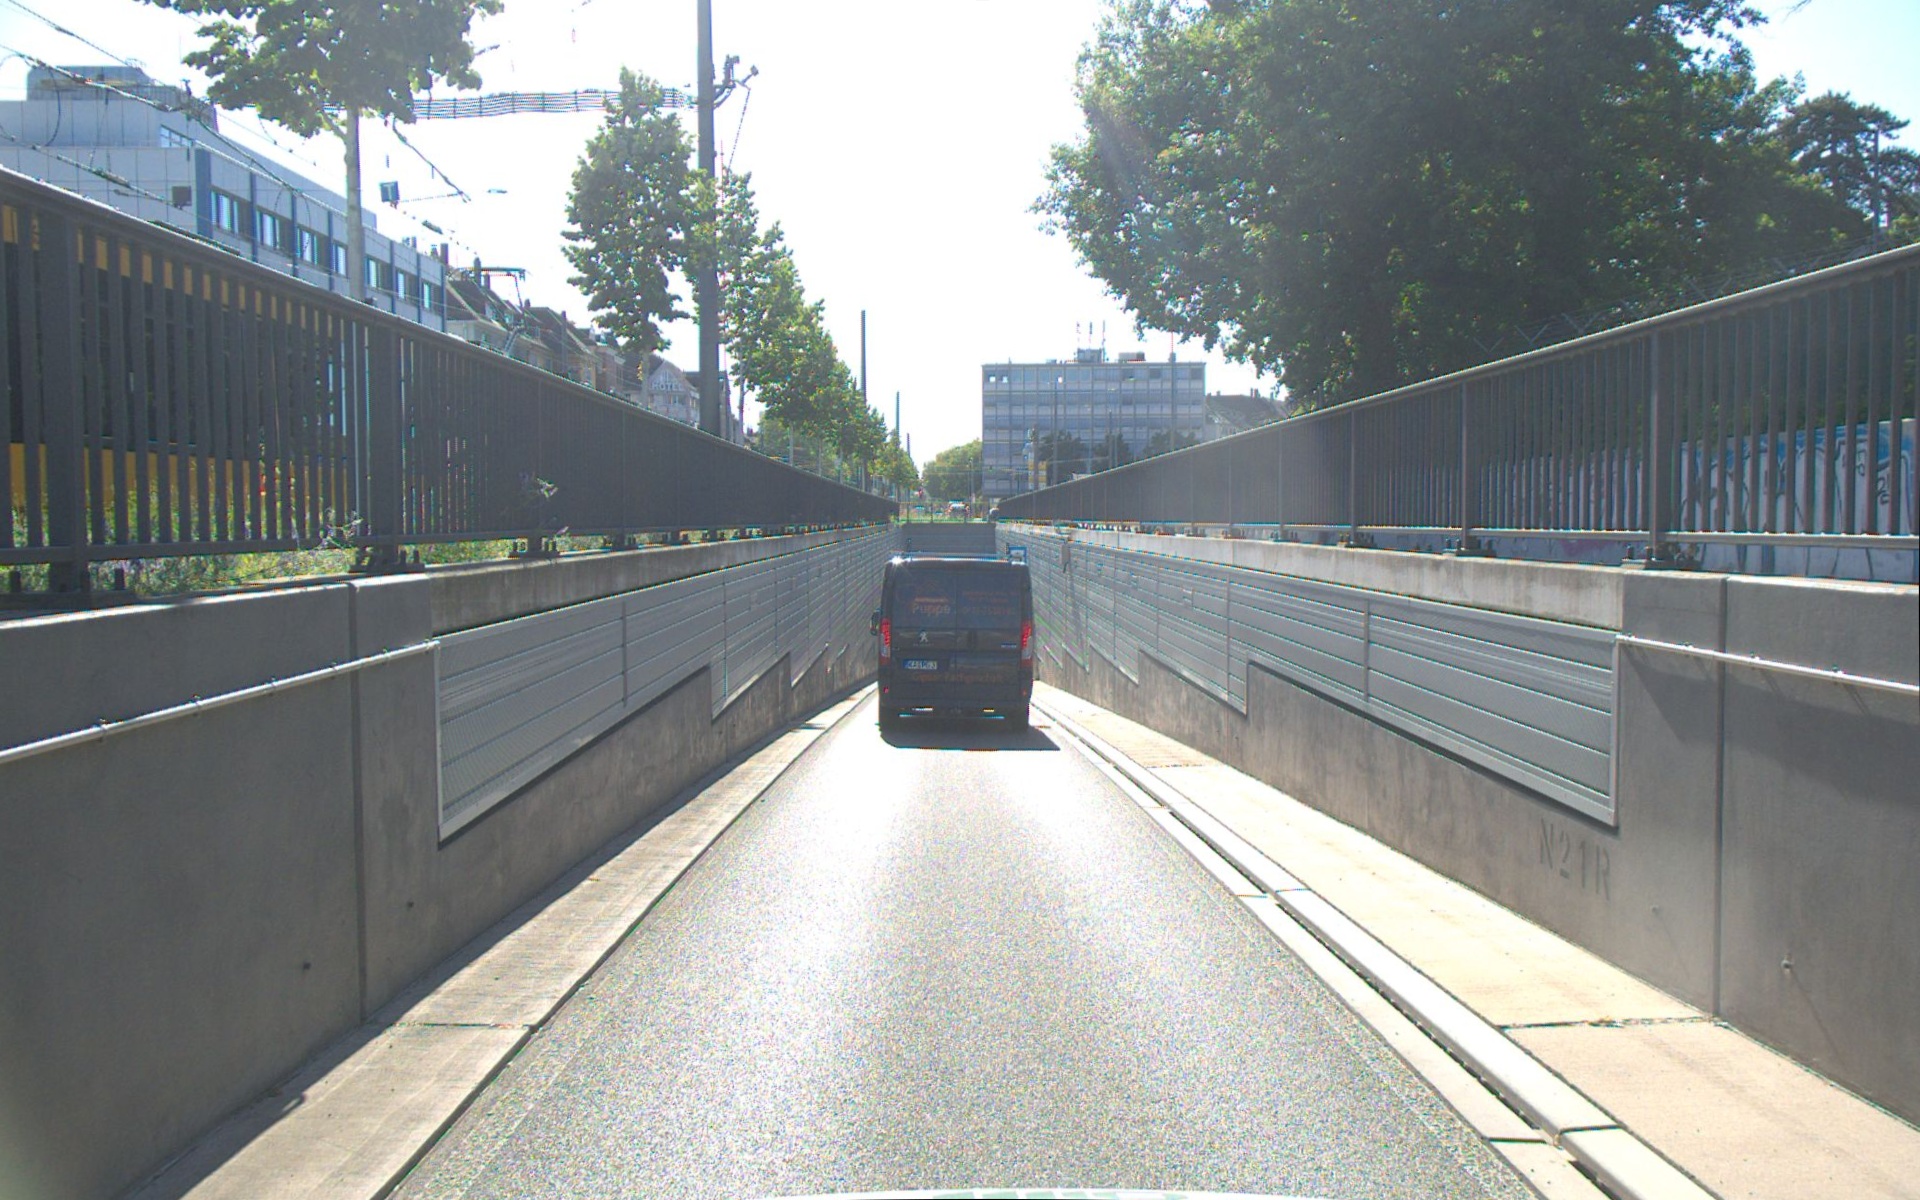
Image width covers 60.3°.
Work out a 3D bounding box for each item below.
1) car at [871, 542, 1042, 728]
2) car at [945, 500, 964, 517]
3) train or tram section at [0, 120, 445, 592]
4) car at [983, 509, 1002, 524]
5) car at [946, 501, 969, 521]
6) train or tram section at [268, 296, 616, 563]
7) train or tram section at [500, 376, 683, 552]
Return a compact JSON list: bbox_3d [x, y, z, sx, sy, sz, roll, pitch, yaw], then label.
[{"bbox_3d":[-0.041,0.488,23.050,2.114,2.306,4.636,1,-1,0],"label":"car"},{"bbox_3d":[-0.540,-8.651,156.438,1.705,1.589,4.000,0,3,-2],"label":"car"},{"bbox_3d":[-8.916,-2.146,17.897,2.557,3.719,13.344,1,2,0],"label":"train or tram section"},{"bbox_3d":[3.206,-8.191,163.157,1.705,1.445,4.000,0,3,-2],"label":"car"},{"bbox_3d":[-0.194,-6.914,128.601,1.705,1.589,4.000,0,3,-2],"label":"car"},{"bbox_3d":[-9.054,-2.782,31.075,2.557,3.887,13.091,1,2,-1],"label":"train or tram section"},{"bbox_3d":[-9.230,-3.286,42.611,2.559,3.921,9.971,1,2,-1],"label":"train or tram section"}]
